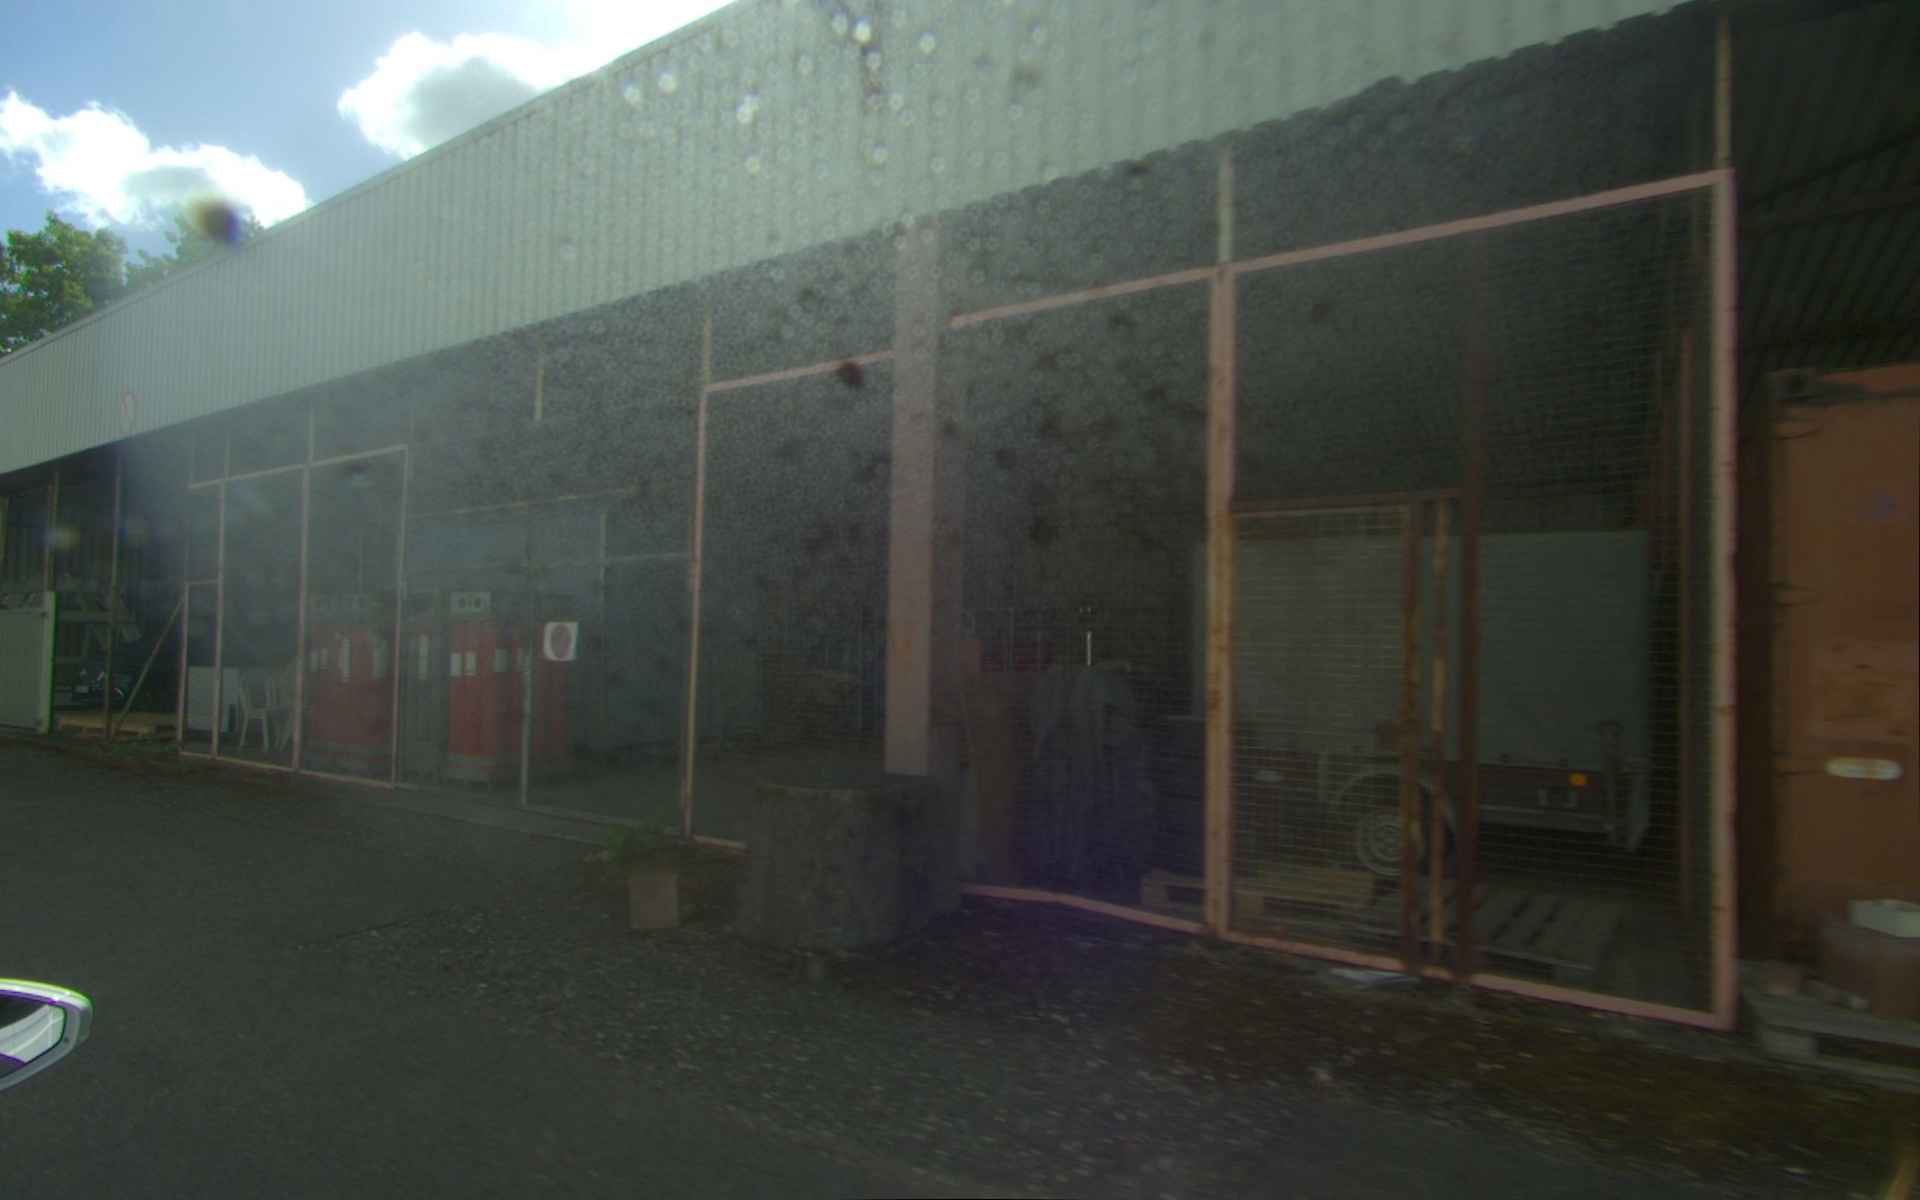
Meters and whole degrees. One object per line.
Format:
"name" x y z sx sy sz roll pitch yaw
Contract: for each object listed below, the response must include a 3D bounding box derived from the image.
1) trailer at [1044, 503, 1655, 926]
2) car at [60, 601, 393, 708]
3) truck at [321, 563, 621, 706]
"trailer" 2.462 0.636 6.716 3.469 2.170 1.575 -1 -1 30
"car" -15.123 1.148 21.056 2.243 1.942 5.166 -1 -3 28
"truck" -10.601 0.802 22.235 2.333 2.740 5.558 0 -3 33
